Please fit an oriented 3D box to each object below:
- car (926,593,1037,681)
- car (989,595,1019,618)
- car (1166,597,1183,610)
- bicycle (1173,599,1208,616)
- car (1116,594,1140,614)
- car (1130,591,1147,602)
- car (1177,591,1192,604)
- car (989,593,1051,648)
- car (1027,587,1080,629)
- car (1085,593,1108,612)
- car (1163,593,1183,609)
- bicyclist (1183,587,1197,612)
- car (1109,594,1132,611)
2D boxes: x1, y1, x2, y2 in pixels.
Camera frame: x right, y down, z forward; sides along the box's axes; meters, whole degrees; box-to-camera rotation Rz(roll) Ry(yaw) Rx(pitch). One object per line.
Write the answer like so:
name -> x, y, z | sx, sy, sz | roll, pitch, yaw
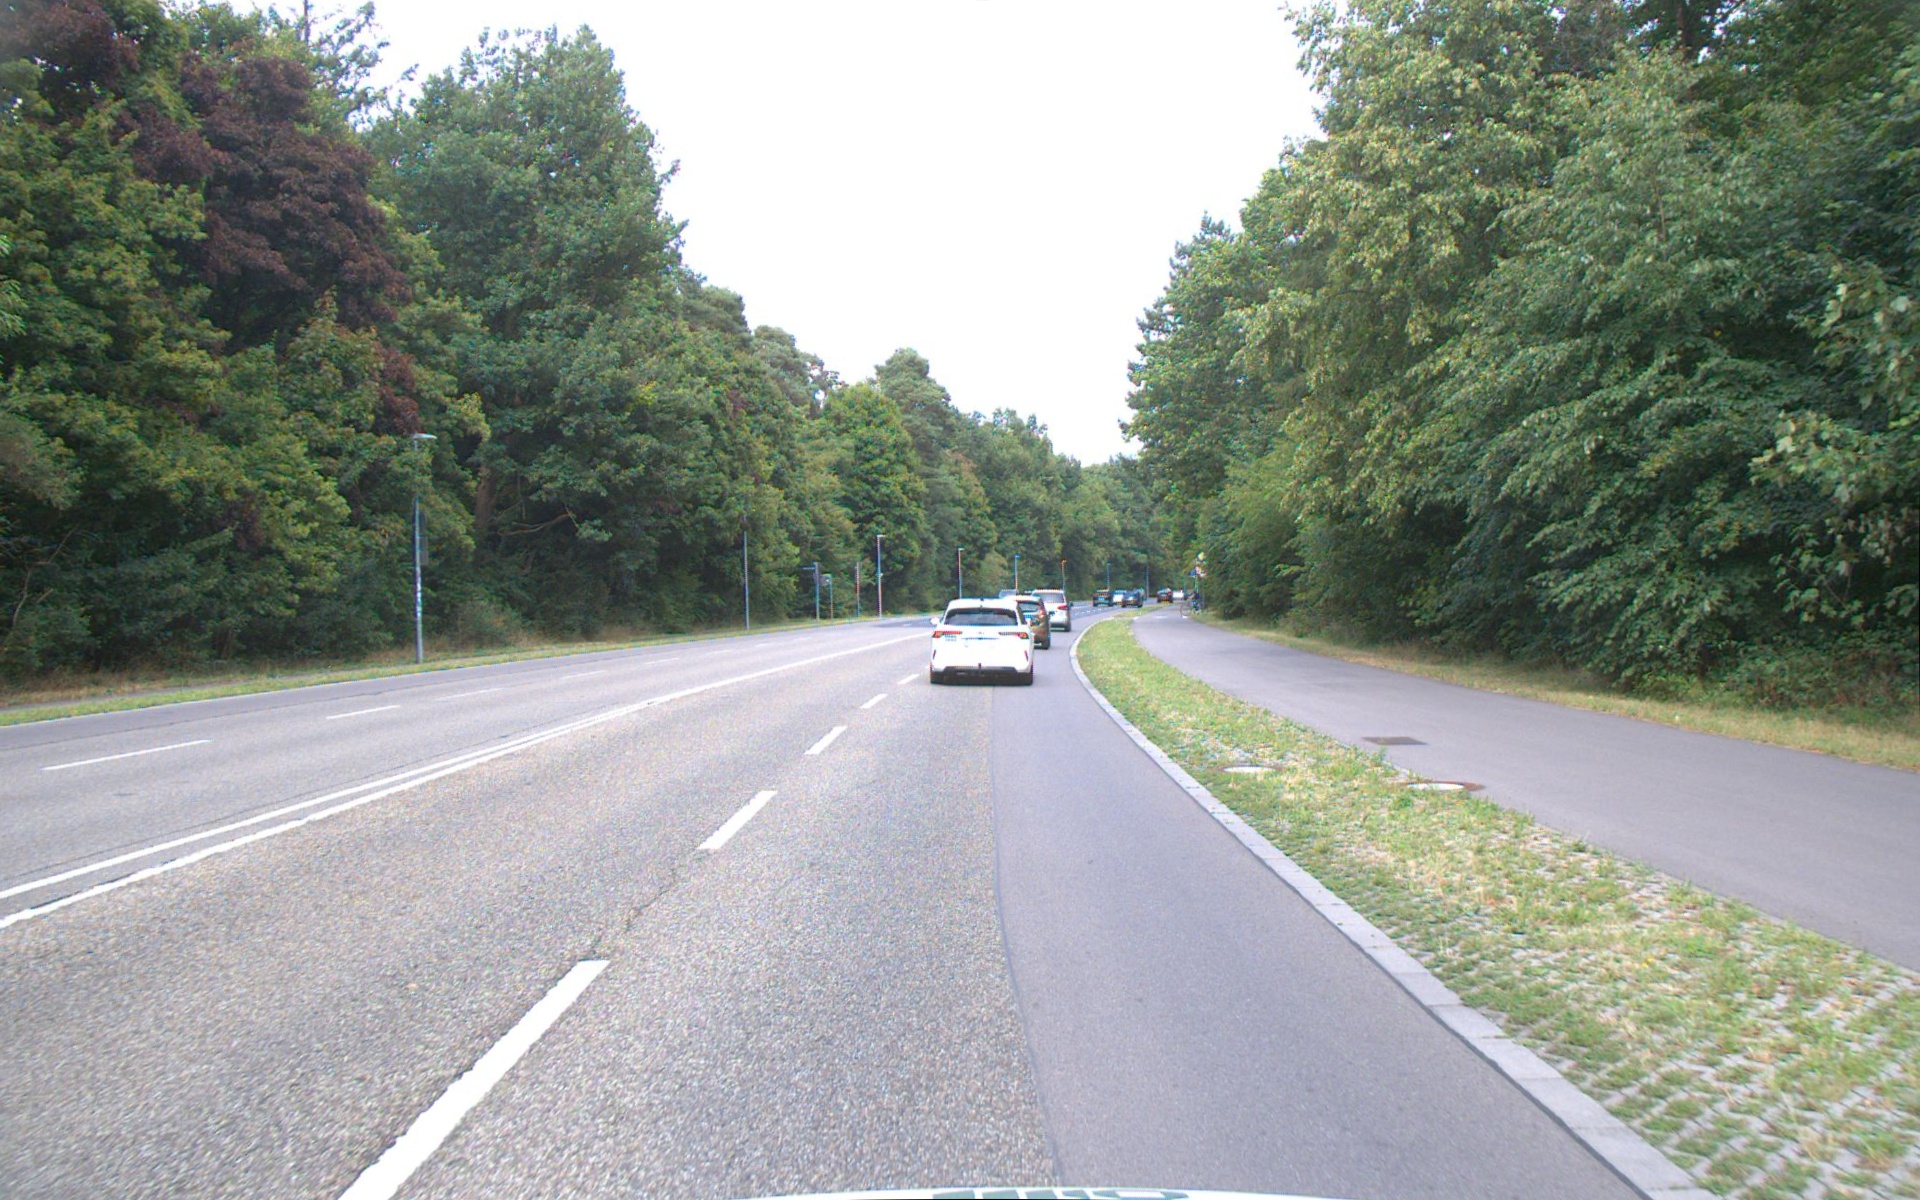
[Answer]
car -> 0.367, 0.621, 29.165 | 1.798, 1.435, 4.490 | 0, 0, 0
car -> 3.752, 0.545, 141.170 | 1.951, 1.822, 4.751 | 2, -1, 9
car -> 32.000, 0.522, 246.429 | 1.848, 1.847, 4.002 | 2, -1, 16
bicycle -> 14.238, 0.471, 102.288 | 2.128, 1.011, 0.712 | 0, 0, 8
car -> 16.279, 0.408, 159.886 | 1.951, 1.814, 4.003 | 2, -1, 10
car -> 24.654, -0.520, 228.411 | 1.833, 1.456, 4.003 | 0, 0, 13
car -> 31.908, -0.369, 234.769 | 1.951, 1.736, 4.004 | 0, 0, 11
car -> 1.663, 0.568, 46.928 | 1.602, 1.445, 4.000 | 2, -1, 0
car -> 3.908, 0.337, 68.596 | 1.951, 1.635, 4.003 | 2, -1, 6
car -> 13.602, 0.254, 164.381 | 1.951, 1.814, 4.003 | 2, -1, 9
car -> 26.364, 0.151, 204.596 | 1.951, 1.814, 4.003 | 2, -1, 13
bicyclist -> 14.229, -0.024, 102.279 | 0.879, 1.496, 0.712 | 0, 0, 8
car -> 17.617, 0.267, 181.519 | 1.951, 1.814, 4.003 | 2, -1, 14
